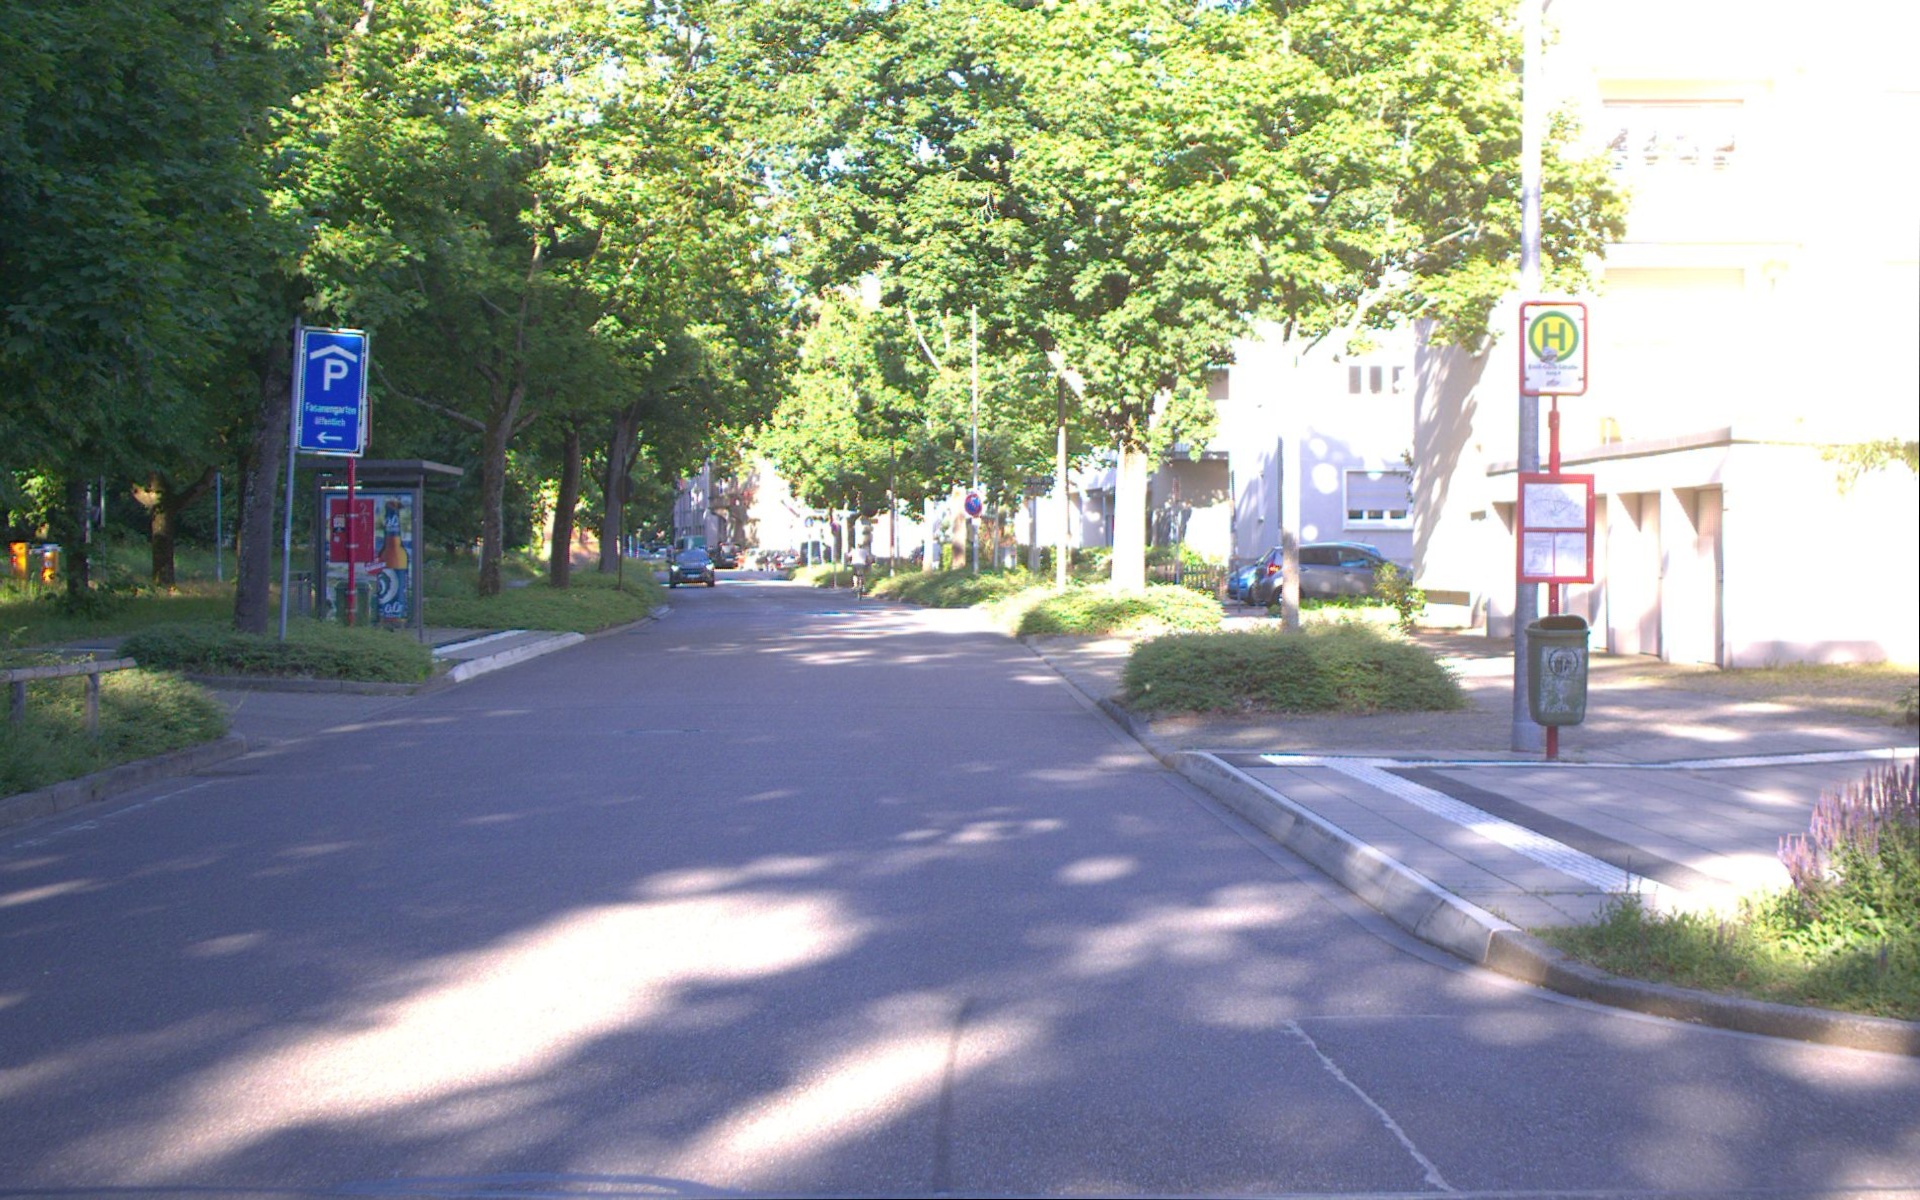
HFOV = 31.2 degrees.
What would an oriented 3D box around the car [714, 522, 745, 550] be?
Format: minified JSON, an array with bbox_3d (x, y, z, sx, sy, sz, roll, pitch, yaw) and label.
[{"bbox_3d":[-16.369,-4.575,244.357,1.811,1.919,4.001,1,1,-9],"label":"car"}]

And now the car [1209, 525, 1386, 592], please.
[{"bbox_3d":[8.119,-1.013,82.915,3.986,1.576,1.810,0,2,-5],"label":"car"}]

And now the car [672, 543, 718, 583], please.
[{"bbox_3d":[-10.966,-1.545,142.346,1.844,1.573,4.336,-2,1,-4],"label":"car"}]

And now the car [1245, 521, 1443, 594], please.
[{"bbox_3d":[8.383,-0.921,75.243,4.040,1.509,1.727,1,0,-4],"label":"car"}]

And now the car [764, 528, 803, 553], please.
[{"bbox_3d":[-11.084,-3.748,215.985,1.811,1.496,4.001,-1,1,-13],"label":"car"}]
